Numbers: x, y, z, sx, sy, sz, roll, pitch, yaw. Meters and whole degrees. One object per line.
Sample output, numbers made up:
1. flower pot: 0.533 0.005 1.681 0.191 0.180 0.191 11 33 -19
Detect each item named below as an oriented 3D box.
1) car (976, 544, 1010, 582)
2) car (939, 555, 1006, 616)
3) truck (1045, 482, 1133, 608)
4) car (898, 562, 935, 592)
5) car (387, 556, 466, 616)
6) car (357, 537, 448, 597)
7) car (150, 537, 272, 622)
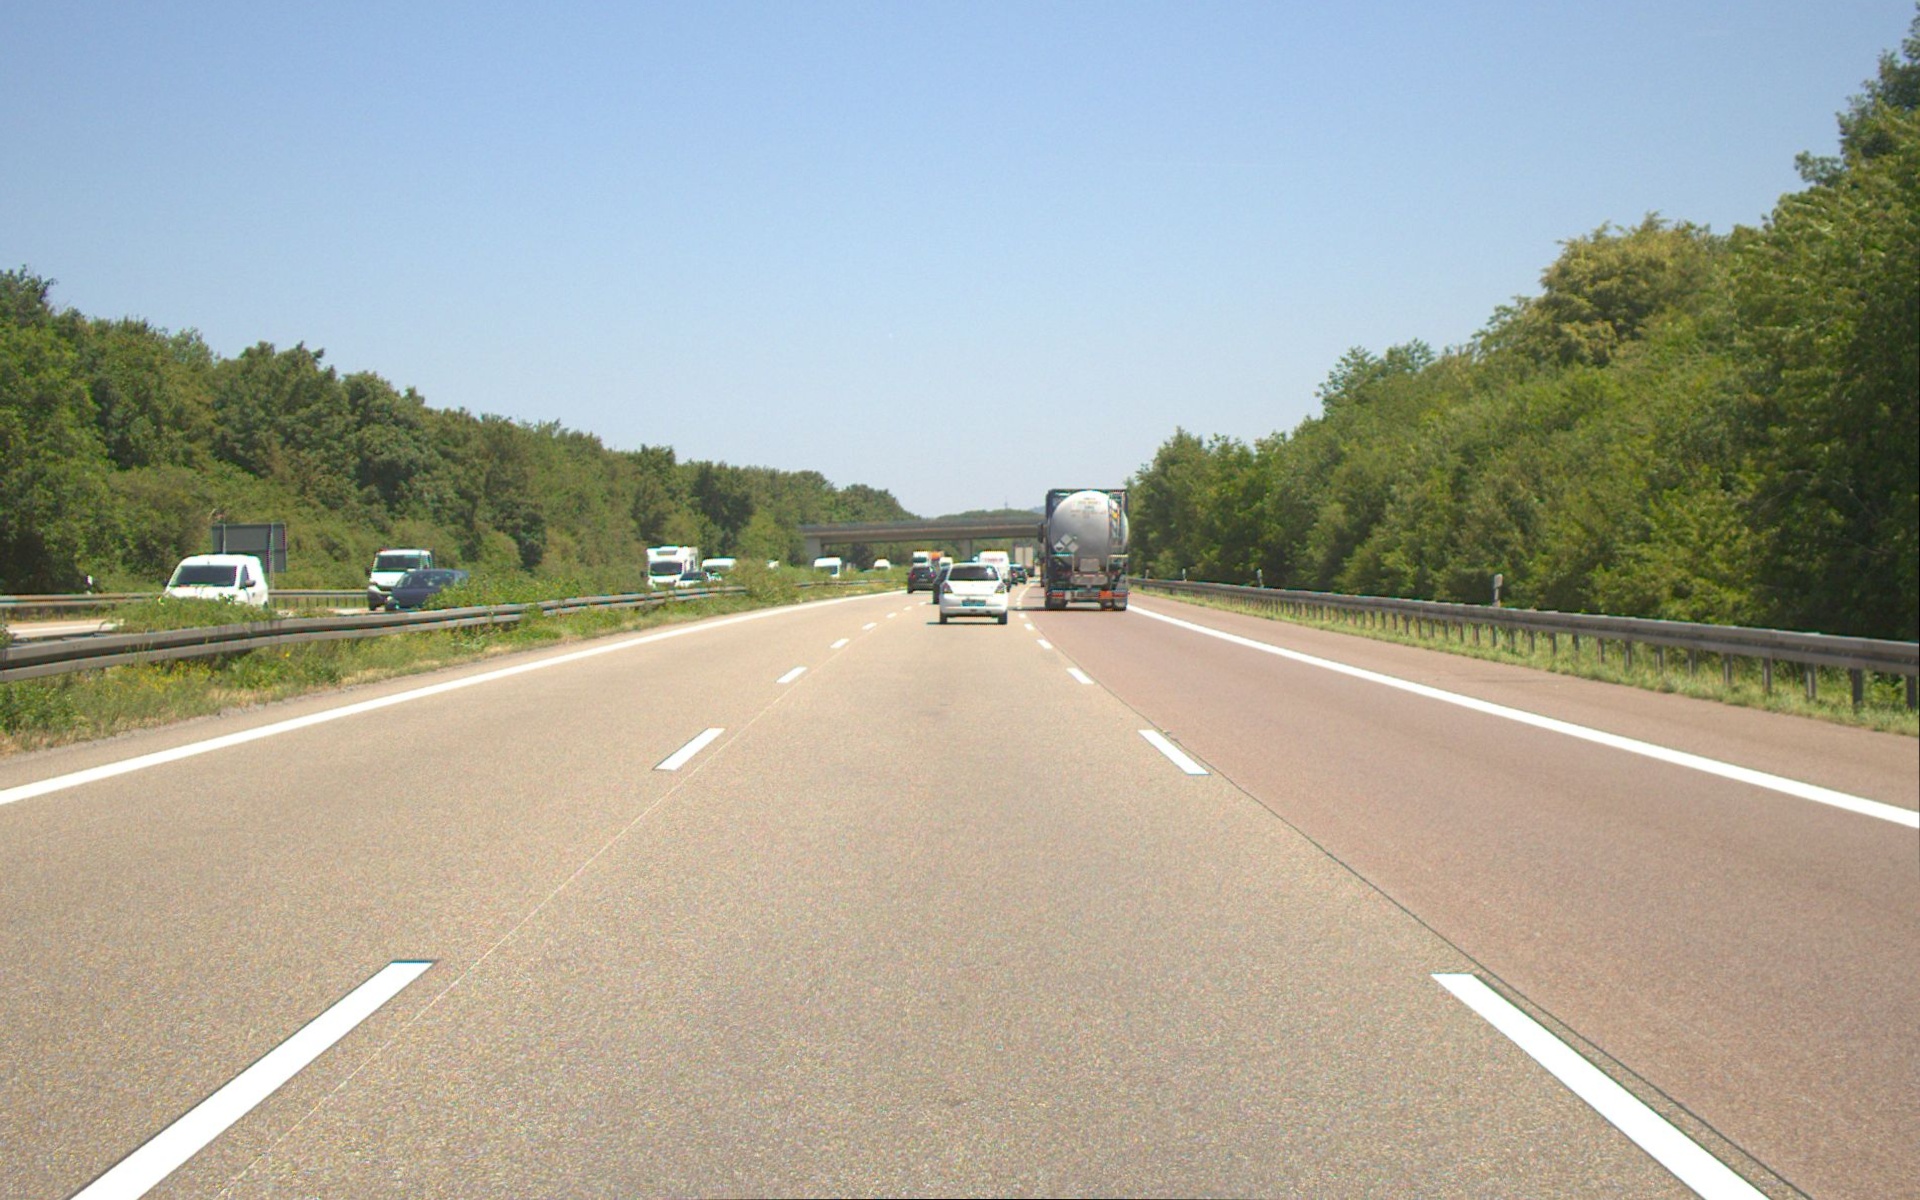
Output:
1. car: 2.083 -2.313 213.913 1.993 2.335 4.387 0 1 2
2. car: 0.287 -0.367 85.784 1.627 1.474 4.000 0 1 0
3. truck: 4.240 -1.815 115.190 2.739 4.038 10.454 0 1 1
4. car: -2.482 -1.351 198.534 1.993 1.719 4.786 0 1 1
5. car: -12.877 -0.355 83.043 1.374 1.422 3.456 0 1 0
6. car: -20.613 -1.242 127.443 2.244 2.165 6.541 0 1 1
7. car: -17.085 -0.488 78.621 1.815 1.870 4.879 0 1 -1
